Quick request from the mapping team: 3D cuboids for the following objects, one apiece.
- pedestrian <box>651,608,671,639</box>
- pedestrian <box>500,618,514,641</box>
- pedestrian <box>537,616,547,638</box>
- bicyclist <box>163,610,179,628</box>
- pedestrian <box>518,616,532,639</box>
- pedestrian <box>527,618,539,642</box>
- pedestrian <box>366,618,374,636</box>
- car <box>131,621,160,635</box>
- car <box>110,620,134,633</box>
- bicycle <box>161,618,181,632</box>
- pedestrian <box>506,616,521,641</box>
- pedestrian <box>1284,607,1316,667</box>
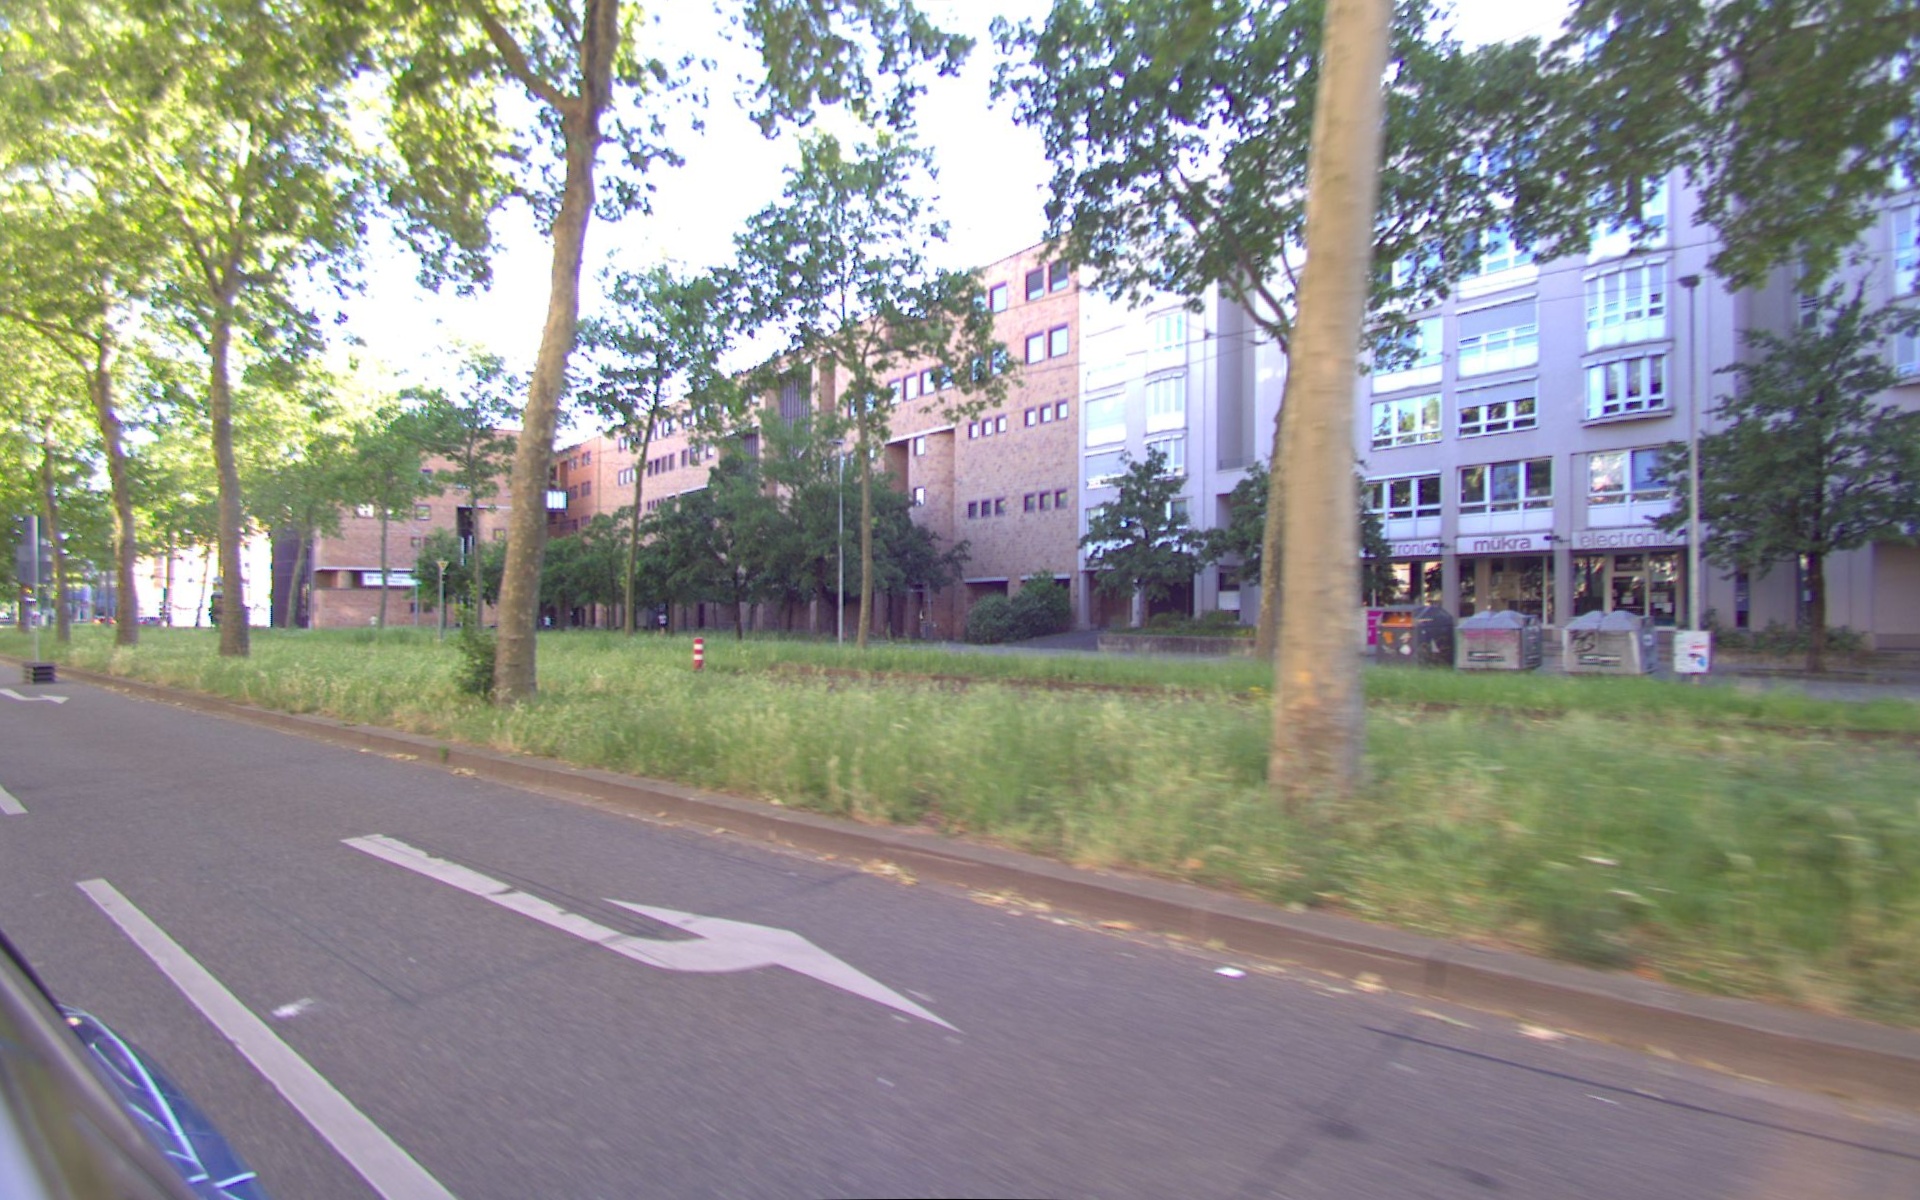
[{"bbox_3d":[-17.854,1.398,60.385,0.814,1.845,0.902,1,-2,-44],"label":"pedestrian"},{"bbox_3d":[-31.969,2.082,71.470,0.756,1.629,0.657,-1,-2,41],"label":"pedestrian"},{"bbox_3d":[-29.461,1.901,71.387,0.463,1.517,0.478,-1,-2,40],"label":"pedestrian"},{"bbox_3d":[-70.534,1.693,90.458,1.209,1.583,0.931,-1,-2,42],"label":"bicyclist"},{"bbox_3d":[-30.469,1.906,70.906,0.756,1.629,0.657,-1,-2,41],"label":"pedestrian"},{"bbox_3d":[-30.093,2.084,71.360,0.596,1.692,0.604,-1,-2,41],"label":"pedestrian"},{"bbox_3d":[-52.390,2.370,89.887,0.653,1.555,0.412,-1,-2,43],"label":"pedestrian"},{"bbox_3d":[-85.669,2.978,106.482,4.147,1.440,1.653,-1,-2,41],"label":"car"},{"bbox_3d":[-94.512,3.027,114.133,3.219,1.440,1.596,-1,-2,41],"label":"car"},{"bbox_3d":[-70.465,2.223,90.386,2.436,1.134,0.946,0,-1,42],"label":"bicycle"},{"bbox_3d":[-31.044,2.007,70.390,0.796,1.735,0.657,-1,-2,41],"label":"pedestrian"},{"bbox_3d":[10.106,1.076,30.074,0.720,1.753,0.648,1,-2,-45],"label":"pedestrian"}]
